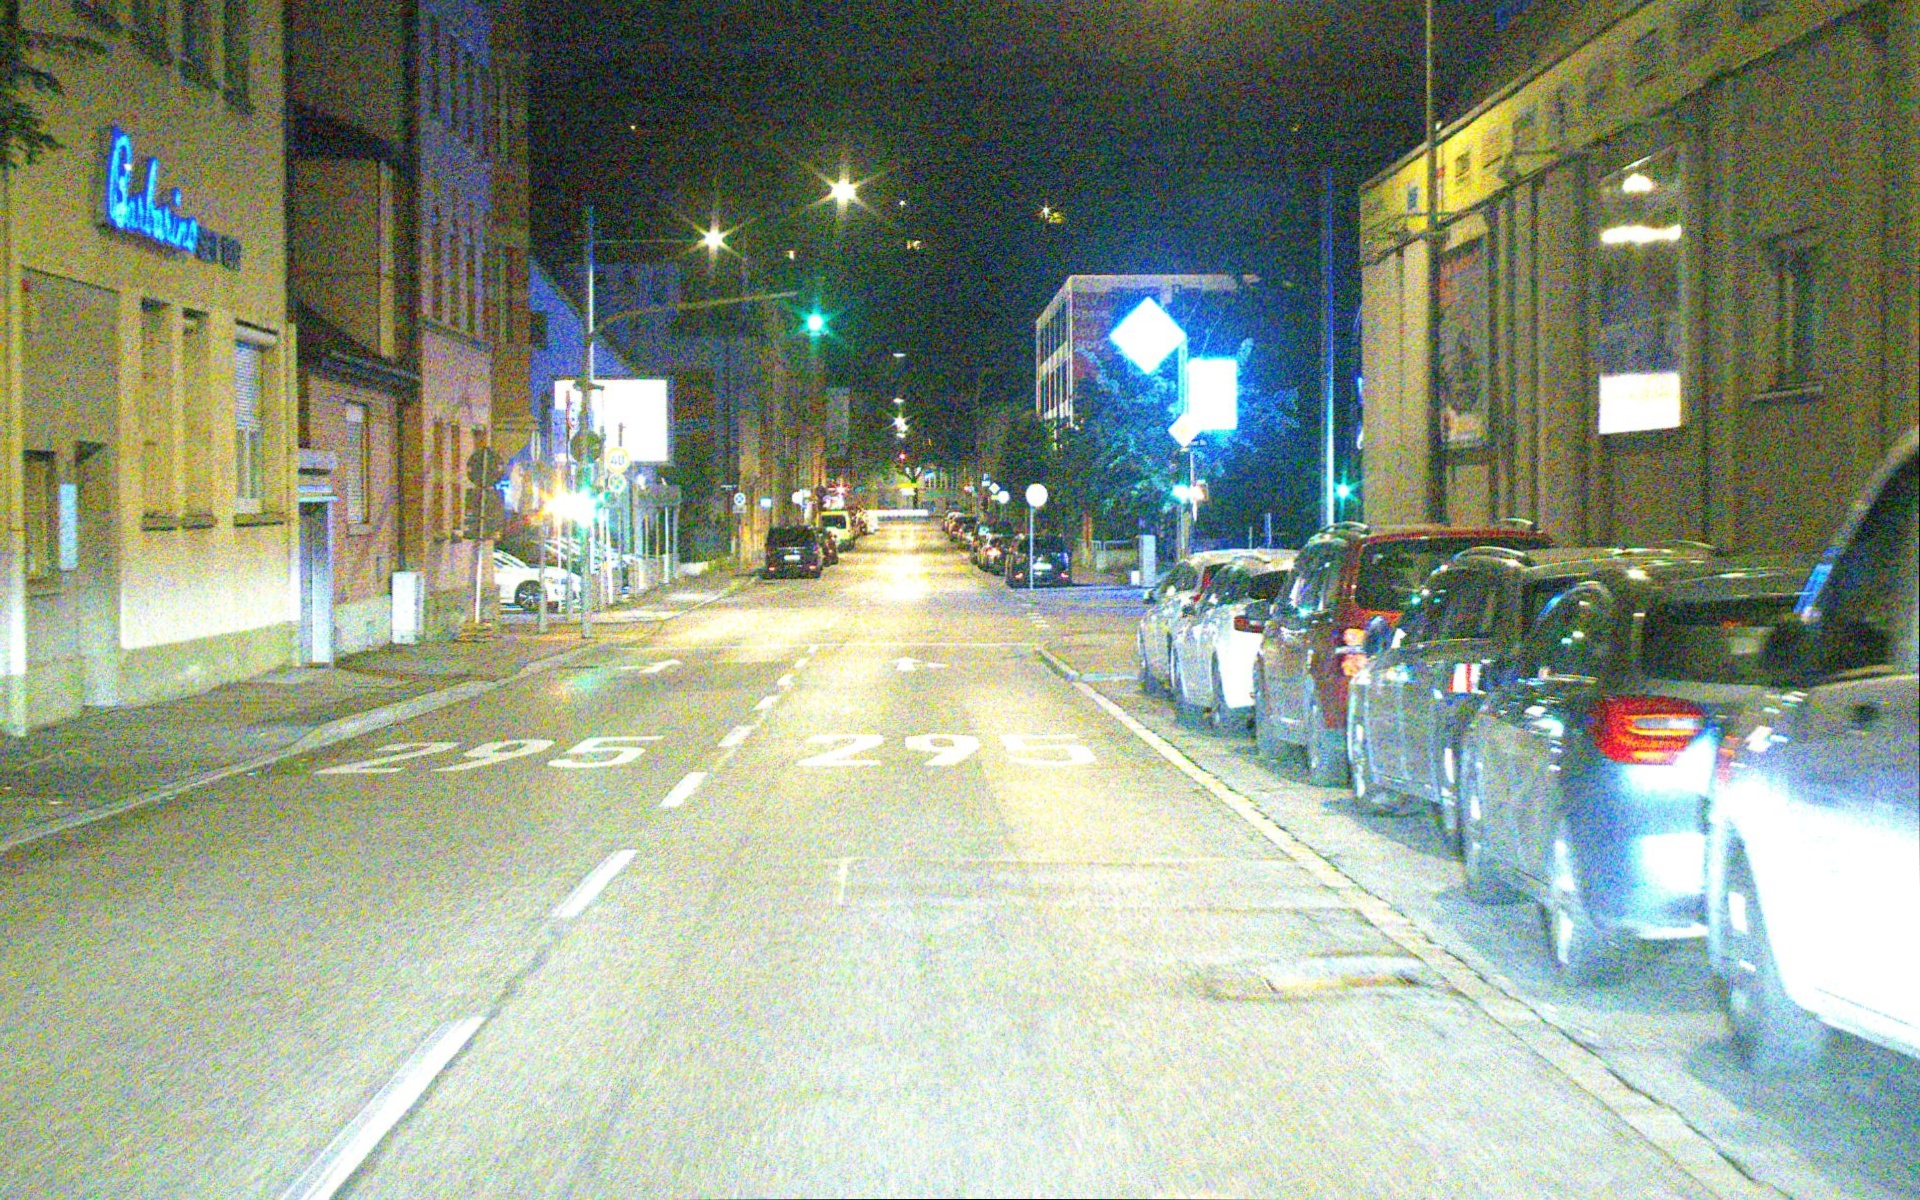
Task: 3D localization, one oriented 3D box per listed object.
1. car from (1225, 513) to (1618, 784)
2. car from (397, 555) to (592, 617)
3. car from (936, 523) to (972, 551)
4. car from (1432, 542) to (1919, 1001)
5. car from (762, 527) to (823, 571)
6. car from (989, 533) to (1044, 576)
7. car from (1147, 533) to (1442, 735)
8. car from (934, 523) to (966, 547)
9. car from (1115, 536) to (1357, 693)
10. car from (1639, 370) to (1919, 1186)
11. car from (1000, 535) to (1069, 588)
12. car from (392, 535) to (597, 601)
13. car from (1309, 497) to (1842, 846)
[{"bbox_3d":[2.974,0.257,23.085,1.823,1.617,4.458,-1,1,-3],"label":"car"},{"bbox_3d":[-11.078,-0.331,82.025,4.438,1.445,2.000,0,0,-2],"label":"car"},{"bbox_3d":[-0.320,-3.648,199.039,1.993,1.515,4.000,0,0,1],"label":"car"},{"bbox_3d":[2.907,0.513,12.987,1.816,1.422,4.188,-1,1,2],"label":"car"},{"bbox_3d":[-5.881,-1.791,121.262,1.993,1.497,4.000,0,0,-1],"label":"car"},{"bbox_3d":[2.093,-1.669,126.812,1.993,1.515,4.000,0,0,1],"label":"car"},{"bbox_3d":[2.697,0.260,28.701,1.774,1.539,4.547,0,0,-3],"label":"car"},{"bbox_3d":[-0.657,-4.183,221.908,1.993,1.515,4.000,0,0,1],"label":"car"},{"bbox_3d":[2.733,0.138,35.053,1.859,1.484,4.547,0,0,-3],"label":"car"},{"bbox_3d":[3.072,0.382,8.160,1.800,1.868,4.774,-2,1,-2],"label":"car"},{"bbox_3d":[2.228,-1.166,102.917,1.993,1.511,4.000,1,1,1],"label":"car"},{"bbox_3d":[-10.655,-0.726,78.933,4.439,1.445,2.000,0,0,-1],"label":"car"},{"bbox_3d":[3.077,0.293,18.179,1.823,1.583,4.629,-1,1,-2],"label":"car"}]
